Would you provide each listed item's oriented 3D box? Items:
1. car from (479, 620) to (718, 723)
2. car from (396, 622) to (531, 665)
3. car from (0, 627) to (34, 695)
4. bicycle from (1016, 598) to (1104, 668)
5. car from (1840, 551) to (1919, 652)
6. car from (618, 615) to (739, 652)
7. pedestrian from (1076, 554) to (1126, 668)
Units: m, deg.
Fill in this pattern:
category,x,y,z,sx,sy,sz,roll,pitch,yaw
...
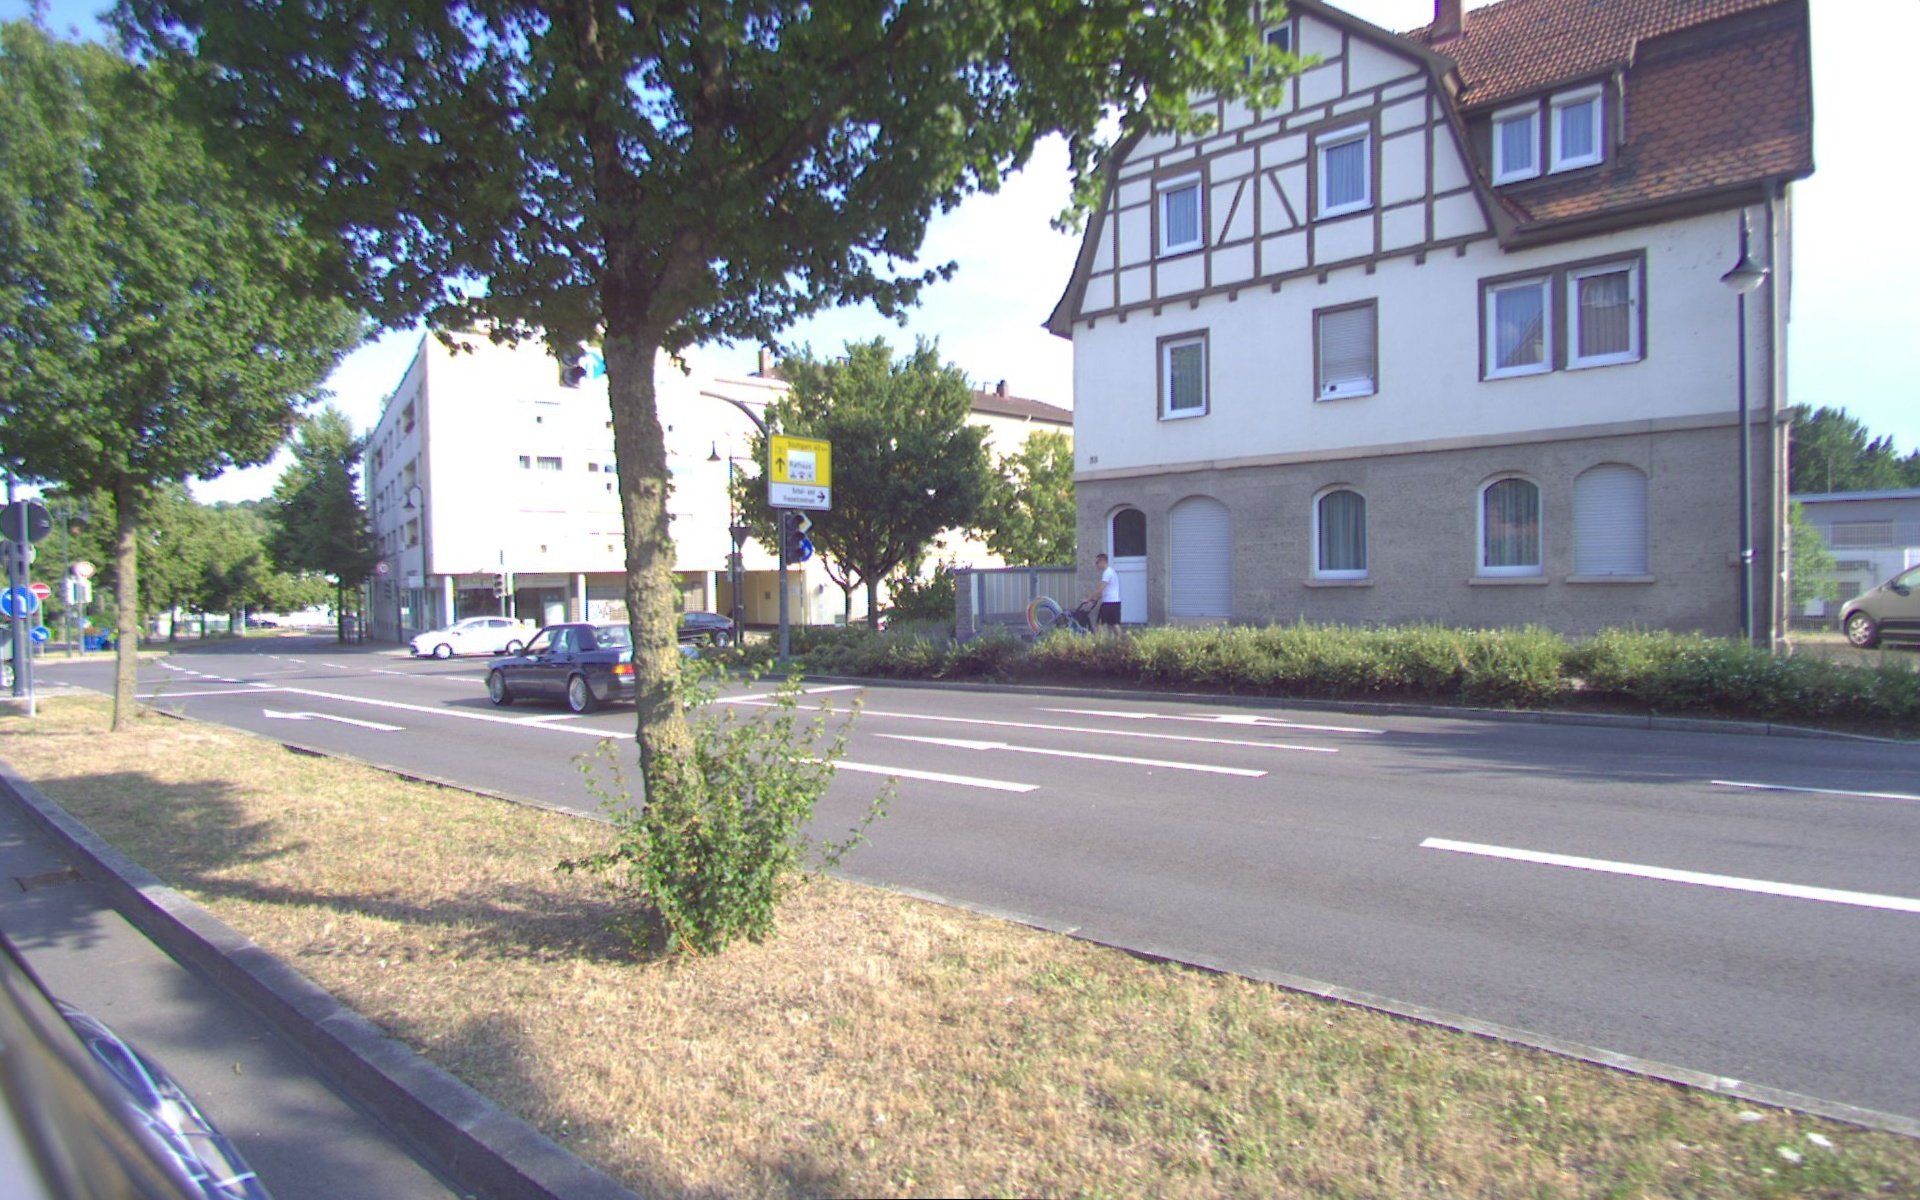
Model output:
category,x,y,z,sx,sy,sz,roll,pitch,yaw
car,-5.767,1.018,15.897,4.160,1.364,1.743,-1,0,41
car,-17.969,1.525,36.759,1.768,1.364,4.071,-1,0,45
car,-21.445,1.334,20.598,1.659,1.446,4.599,-1,0,-10
bicycle,1.836,0.597,18.719,1.513,1.231,0.672,-1,0,41
car,15.775,0.021,15.246,1.746,1.563,3.994,-2,2,5
car,-11.686,1.368,42.220,4.596,1.364,1.769,-1,0,-42
pedestrian,2.533,0.197,18.197,0.588,1.997,0.690,-1,0,41
